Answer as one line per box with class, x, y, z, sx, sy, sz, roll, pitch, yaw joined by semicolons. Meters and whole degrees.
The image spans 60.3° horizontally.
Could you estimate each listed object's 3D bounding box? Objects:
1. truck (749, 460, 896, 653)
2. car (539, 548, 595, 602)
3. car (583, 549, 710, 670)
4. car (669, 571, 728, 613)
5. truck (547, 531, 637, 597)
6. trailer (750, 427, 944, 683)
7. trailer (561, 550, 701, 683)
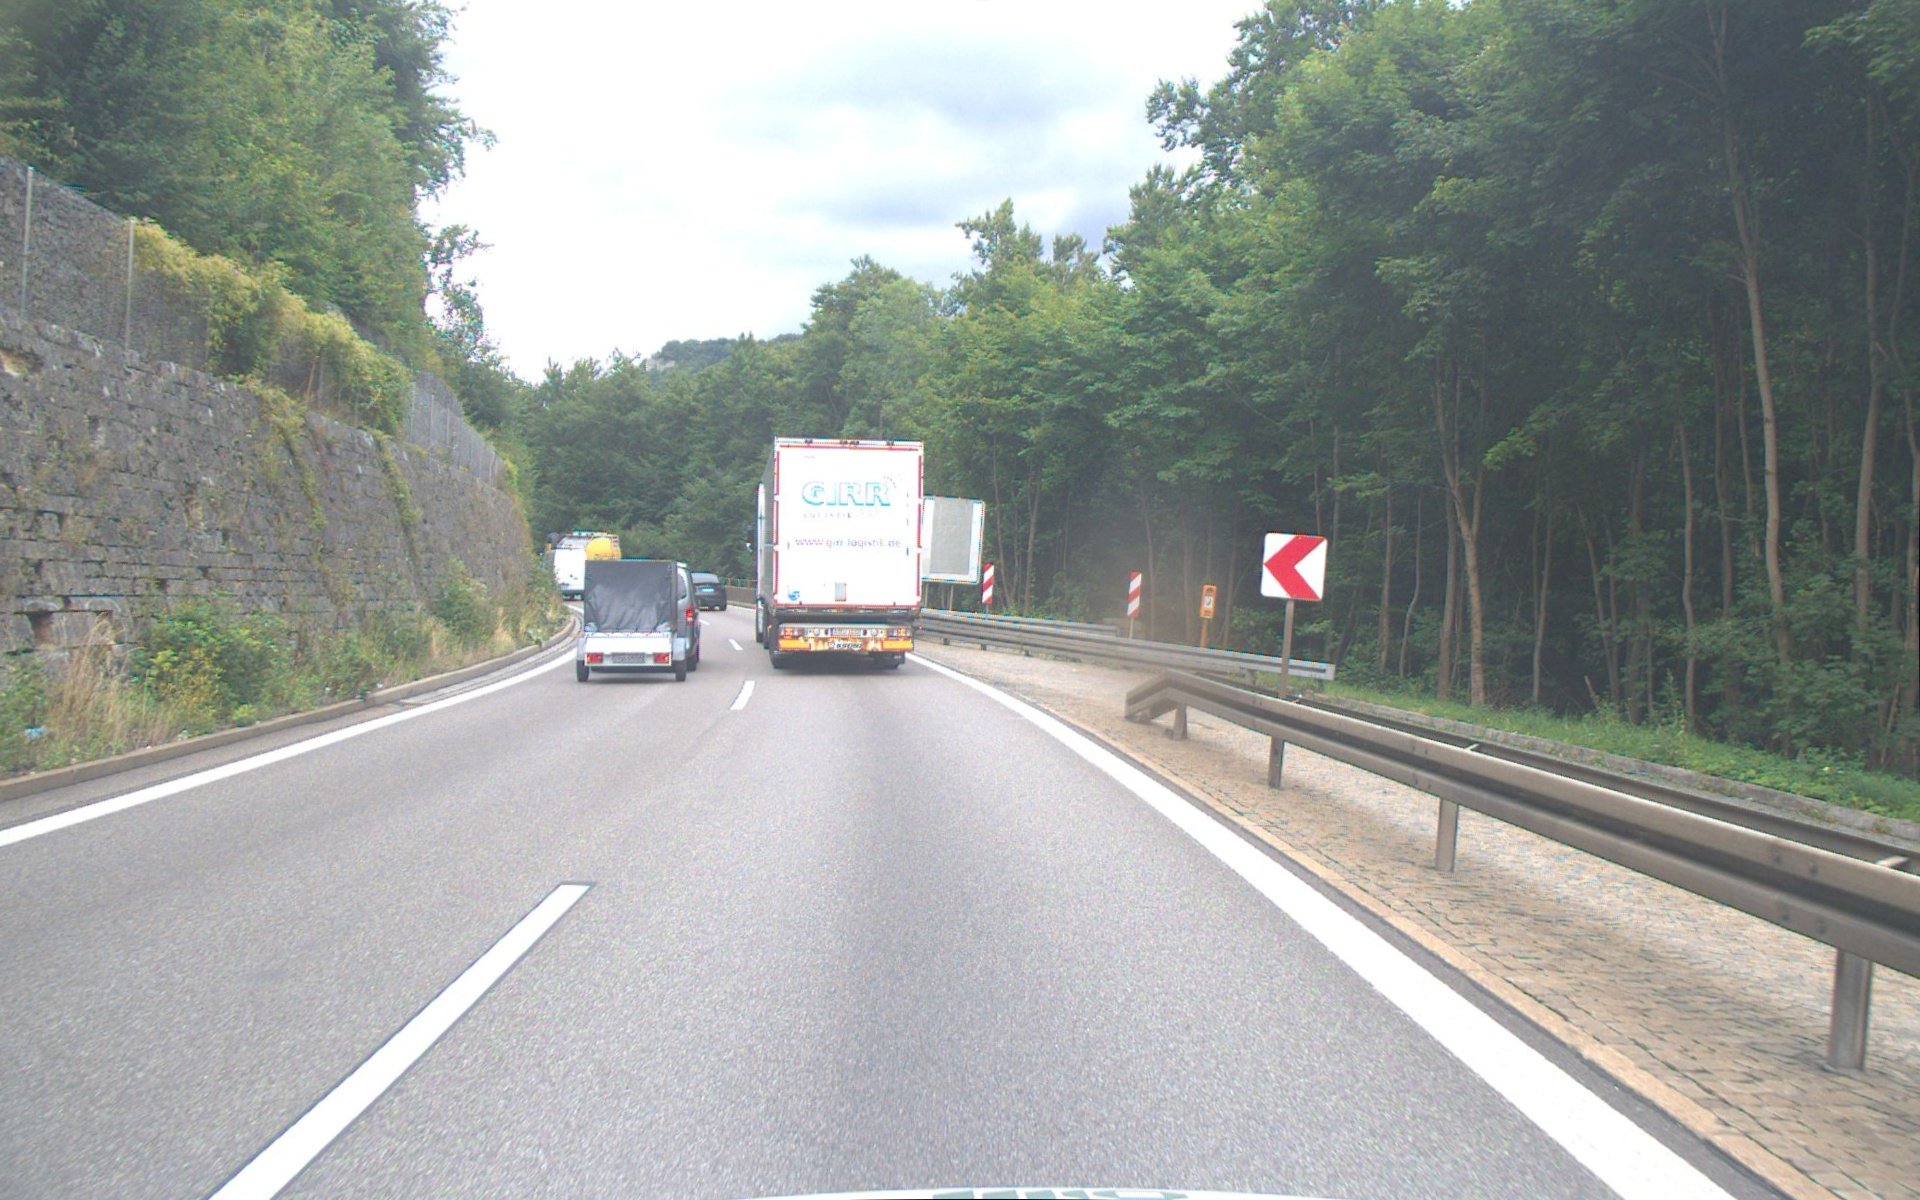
truck;-3.457;-1.080;39.735;3.000;4.054;7.177;3;2;-7
car;-21.298;-1.399;89.490;1.960;2.718;6.894;3;1;-21
car;-5.766;0.138;31.037;1.956;2.049;5.532;1;0;-7
car;-11.404;-0.371;72.044;1.962;1.691;3.982;3;0;-17
truck;-24.234;-2.328;108.174;3.018;4.055;13.591;0;1;-25
trailer;-2.616;-0.967;33.384;3.000;4.054;12.119;3;2;-7
trailer;-5.219;0.240;26.601;1.933;1.973;3.425;1;0;-7
